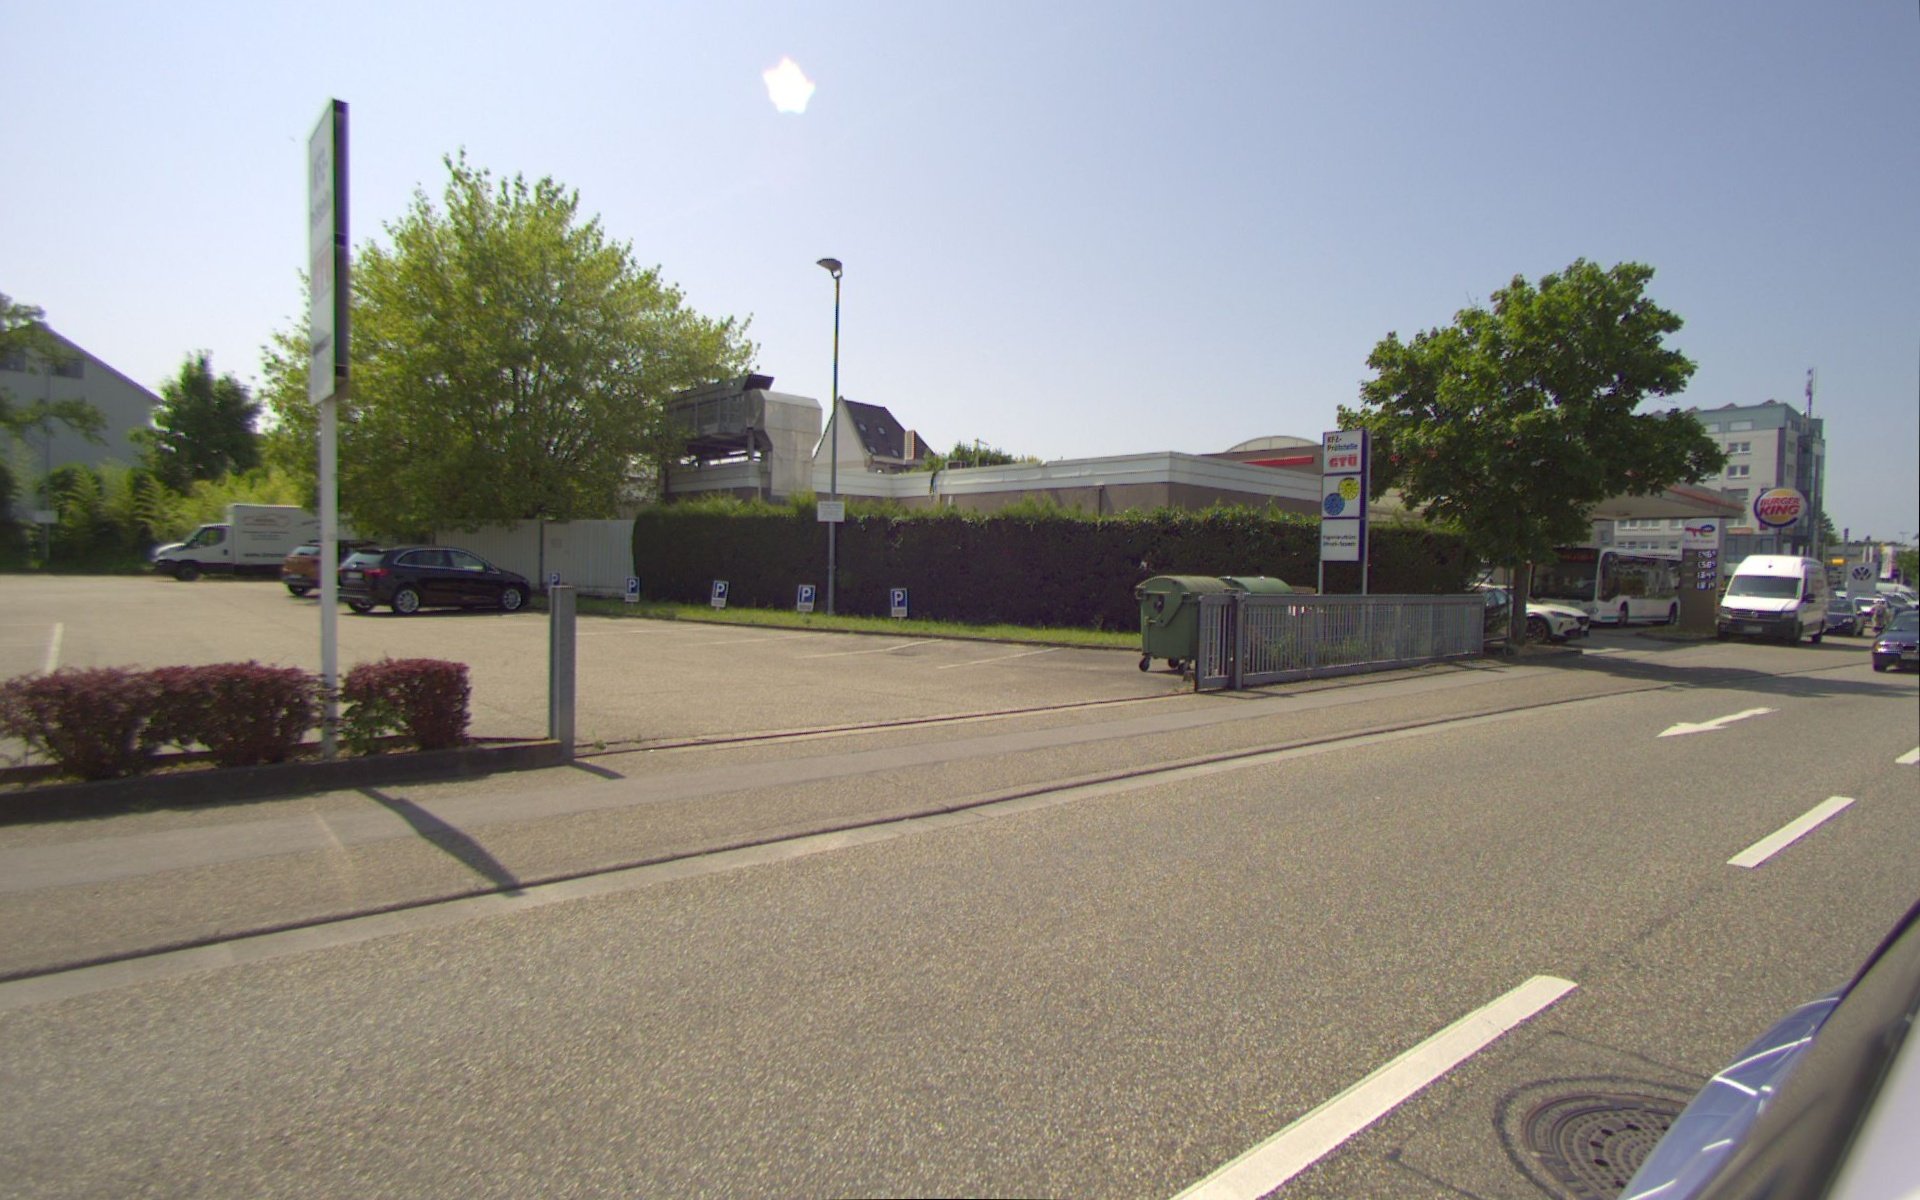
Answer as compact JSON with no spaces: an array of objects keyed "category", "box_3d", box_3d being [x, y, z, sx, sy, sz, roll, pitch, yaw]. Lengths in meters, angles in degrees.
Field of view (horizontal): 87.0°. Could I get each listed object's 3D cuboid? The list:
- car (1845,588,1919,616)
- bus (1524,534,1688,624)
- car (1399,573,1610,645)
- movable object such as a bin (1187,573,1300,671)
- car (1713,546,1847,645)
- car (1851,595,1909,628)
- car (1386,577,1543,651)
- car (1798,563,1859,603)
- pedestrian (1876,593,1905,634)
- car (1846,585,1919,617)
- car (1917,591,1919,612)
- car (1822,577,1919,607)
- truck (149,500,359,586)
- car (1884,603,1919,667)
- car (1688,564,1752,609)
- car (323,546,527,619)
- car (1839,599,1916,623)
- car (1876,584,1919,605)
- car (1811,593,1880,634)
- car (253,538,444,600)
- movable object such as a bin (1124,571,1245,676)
[{"category":"car","box_3d":[68.090,0.120,74.752,3.988,1.808,1.698,3,2,44]},{"category":"bus","box_3d":[25.508,-0.798,39.735,8.915,3.191,2.756,0,2,-40]},{"category":"car","box_3d":[14.745,0.182,27.641,1.873,1.545,4.635,0,4,-39]},{"category":"movable object such as a bin","box_3d":[4.630,0.330,16.535,1.463,1.488,1.133,0,2,-41]},{"category":"car","box_3d":[26.478,-0.183,32.564,7.154,2.807,2.181,0,4,-43]},{"category":"car","box_3d":[49.217,0.595,54.104,3.931,1.600,1.859,0,4,-42]},{"category":"car","box_3d":[12.030,0.282,24.004,4.559,1.484,1.796,0,4,-43]},{"category":"car","box_3d":[47.712,-0.920,55.567,3.932,2.038,1.997,0,2,-42]},{"category":"pedestrian","box_3d":[38.404,0.559,41.755,0.807,1.600,0.703,0,4,-43]},{"category":"car","box_3d":[60.042,0.061,65.470,3.988,1.942,1.698,3,2,44]},{"category":"car","box_3d":[83.467,0.229,85.275,3.988,1.787,1.698,3,2,44]},{"category":"car","box_3d":[87.034,-0.848,96.816,1.689,2.636,6.905,1,2,-24]},{"category":"truck","box_3d":[-27.559,-2.152,39.714,6.517,3.045,2.209,0,2,-42]},{"category":"car","box_3d":[22.038,0.758,22.679,3.692,1.356,1.630,0,0,-42]},{"category":"car","box_3d":[44.551,-0.785,59.272,5.482,2.465,2.055,0,2,-44]},{"category":"car","box_3d":[-12.155,-0.412,23.243,1.504,1.490,3.958,2,2,30]},{"category":"car","box_3d":[64.985,0.767,71.705,3.988,1.467,1.698,3,2,44]},{"category":"car","box_3d":[86.412,-0.449,92.390,3.988,1.787,1.698,3,2,44]},{"category":"car","box_3d":[36.394,0.527,41.576,3.776,1.466,1.679,0,4,-43]},{"category":"car","box_3d":[-17.791,-0.887,29.694,1.979,1.643,4.502,2,2,25]},{"category":"movable object such as a bin","box_3d":[3.452,0.332,15.530,1.463,1.488,1.133,0,2,-41]}]
